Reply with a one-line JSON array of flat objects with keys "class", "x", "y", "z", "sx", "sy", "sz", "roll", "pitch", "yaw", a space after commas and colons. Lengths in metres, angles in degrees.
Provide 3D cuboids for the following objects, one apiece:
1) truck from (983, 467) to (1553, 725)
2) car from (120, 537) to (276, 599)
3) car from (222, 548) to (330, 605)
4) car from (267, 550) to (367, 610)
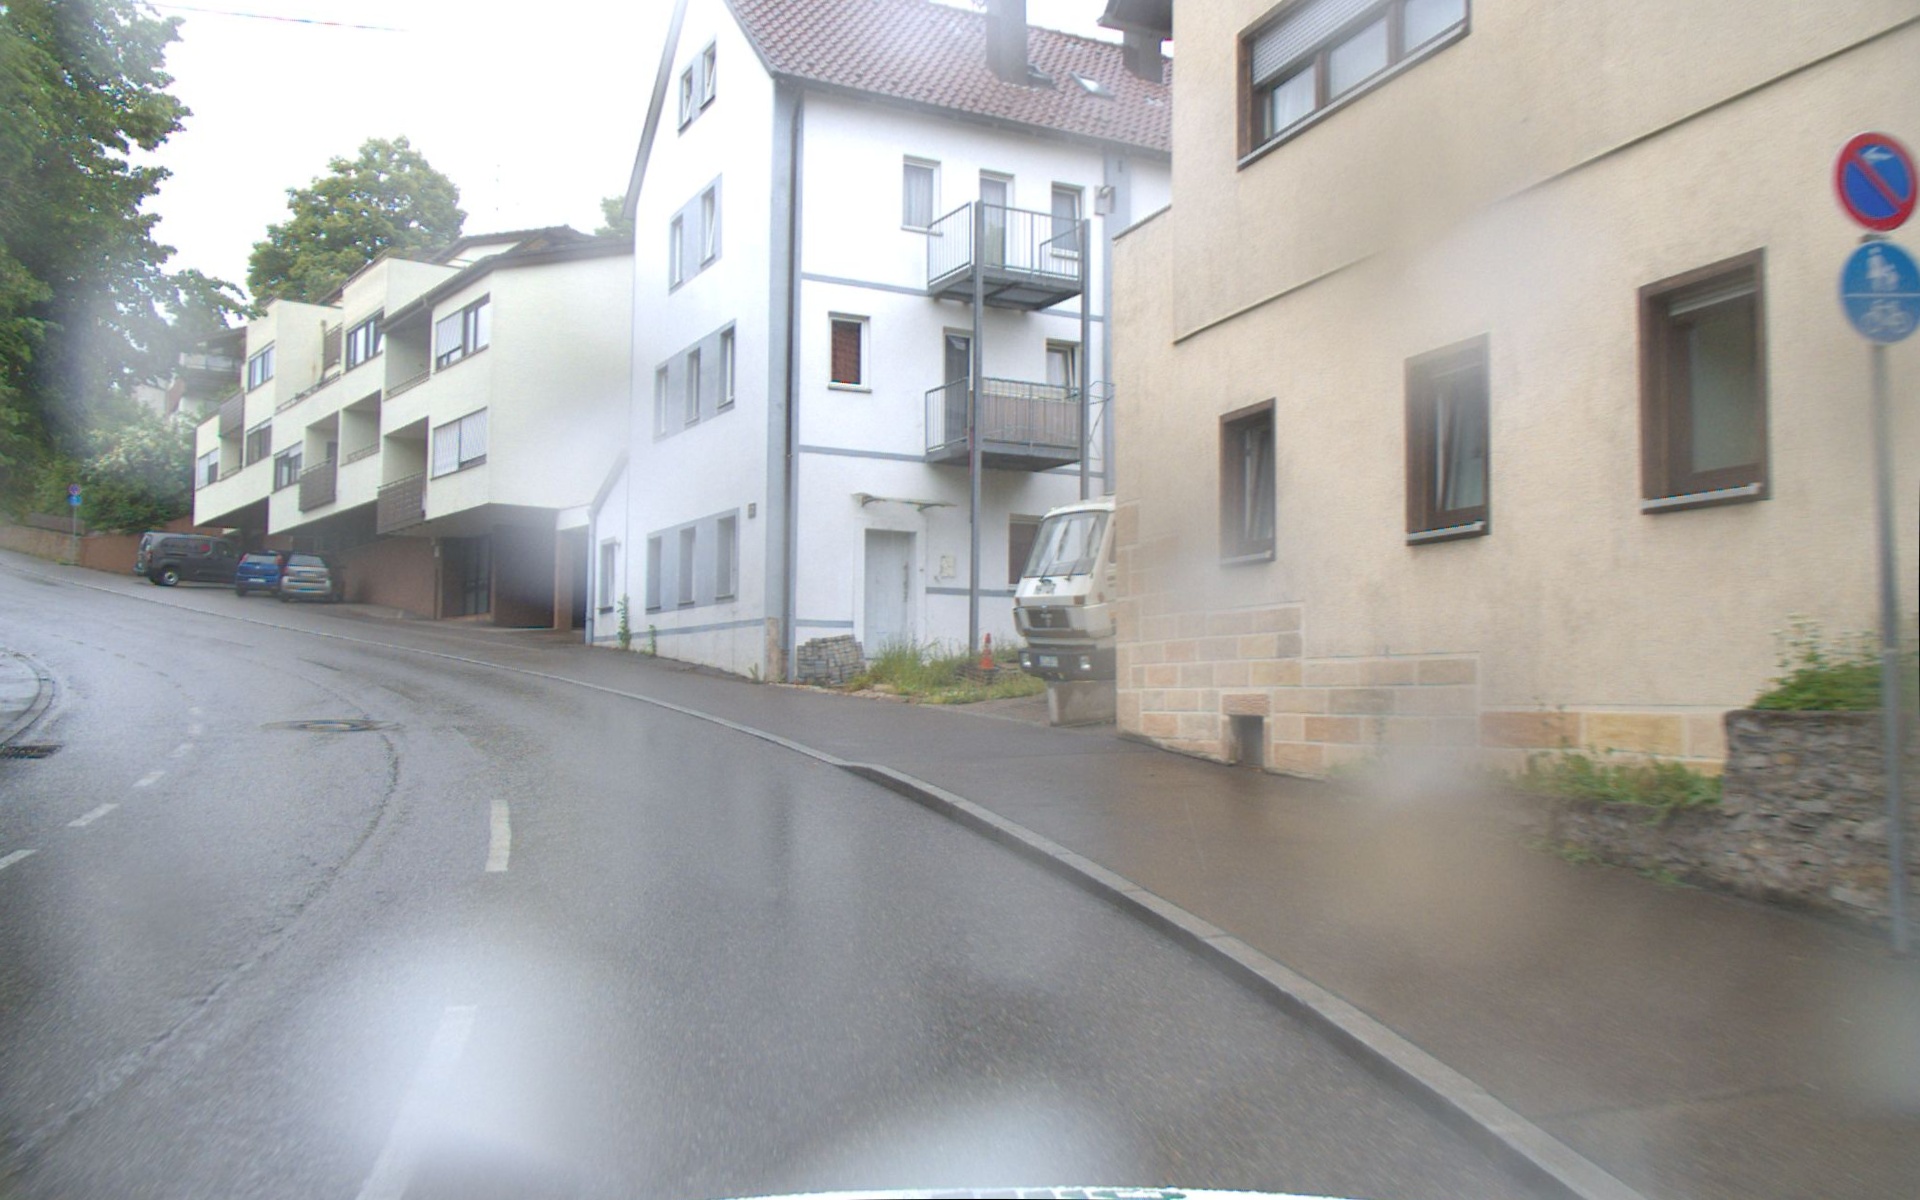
[{"class": "truck", "x": 3.826, "y": -0.168, "z": 20.062, "sx": 6.867, "sy": 2.749, "sz": 2.124, "roll": -2, "pitch": 2, "yaw": -25}, {"class": "car", "x": -27.369, "y": -1.150, "z": 59.465, "sx": 4.677, "sy": 1.851, "sz": 1.972, "roll": 4, "pitch": 1, "yaw": -40}, {"class": "car", "x": -22.333, "y": -0.732, "z": 54.171, "sx": 1.746, "sy": 1.605, "sz": 4.066, "roll": 6, "pitch": -1, "yaw": -1}, {"class": "car", "x": -20.049, "y": -0.593, "z": 51.761, "sx": 1.748, "sy": 1.605, "sz": 4.061, "roll": 6, "pitch": -1, "yaw": -6}]
